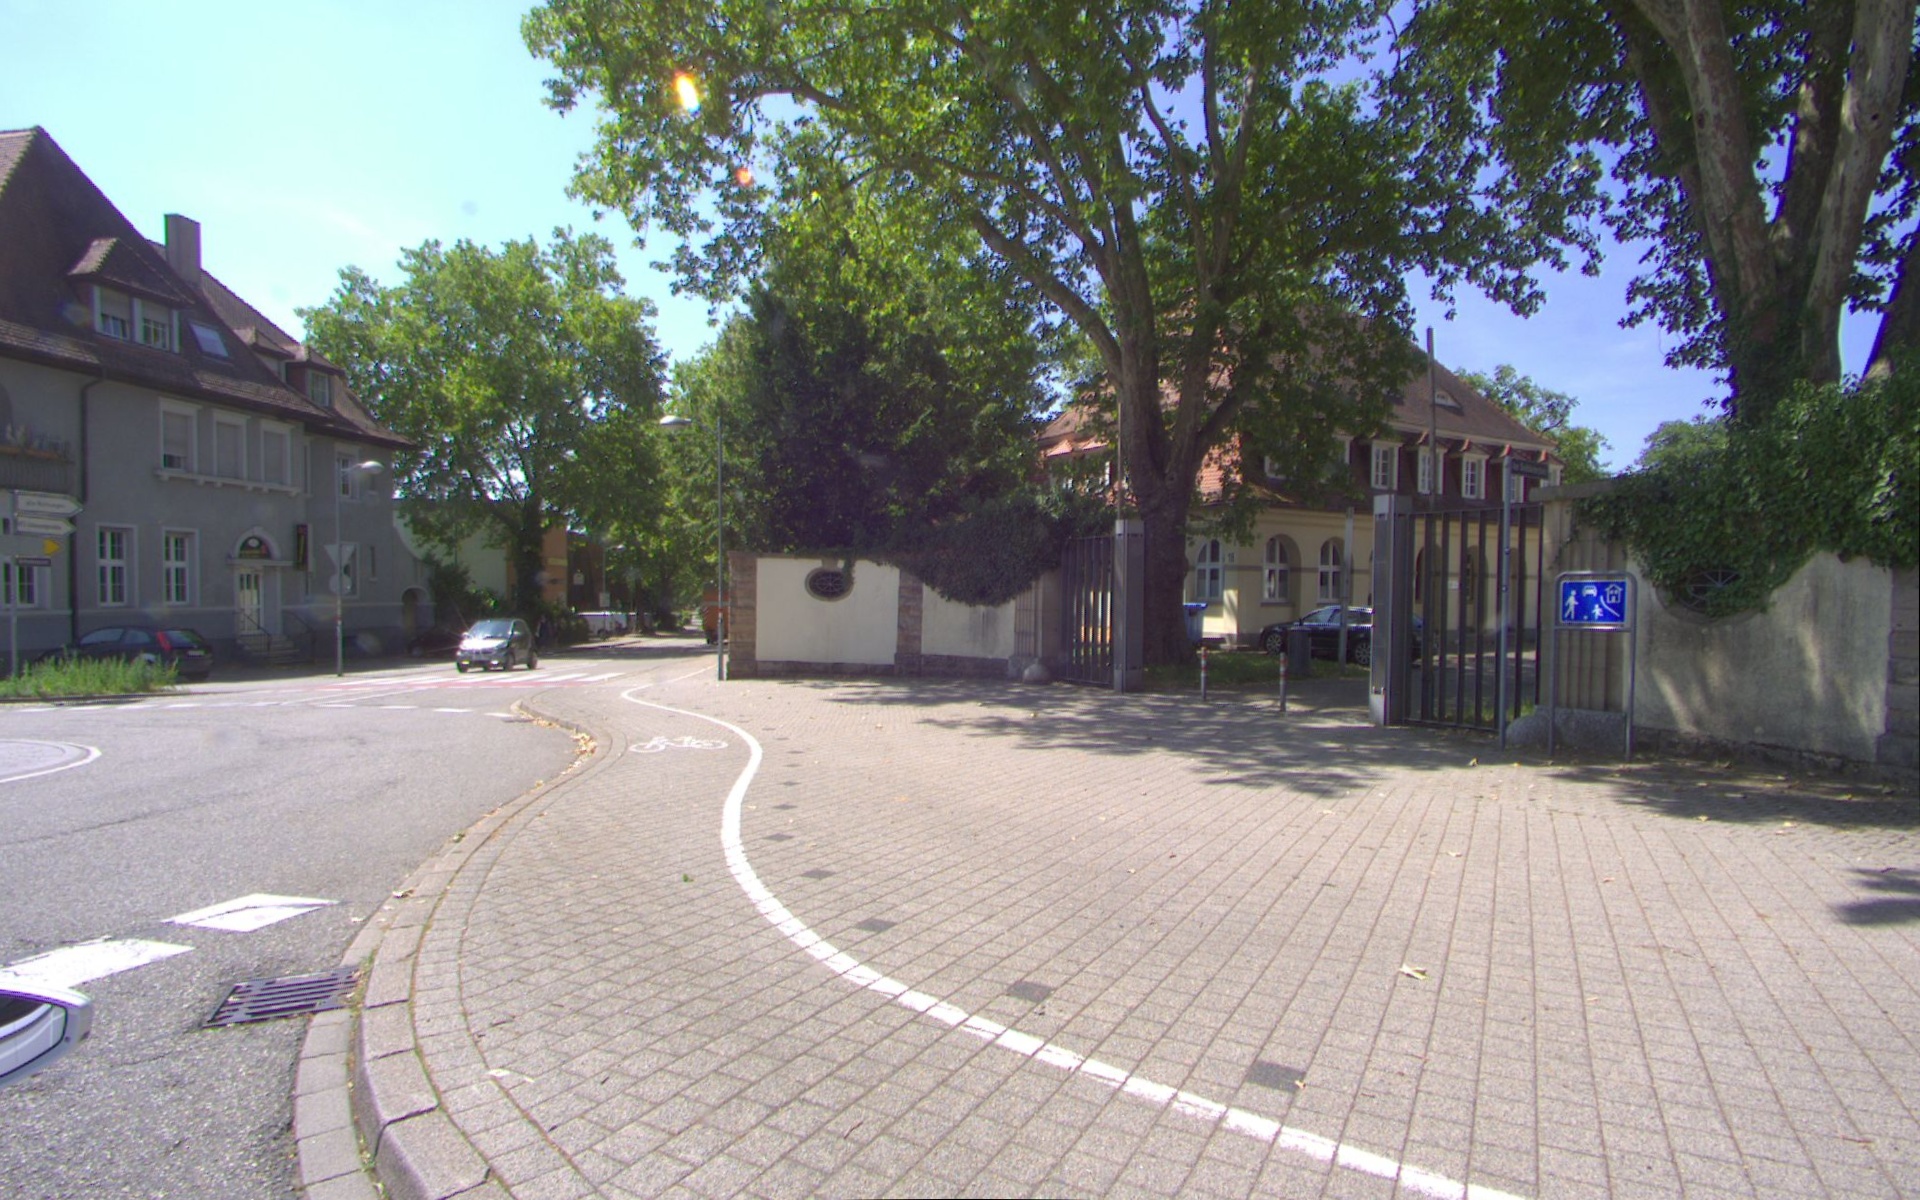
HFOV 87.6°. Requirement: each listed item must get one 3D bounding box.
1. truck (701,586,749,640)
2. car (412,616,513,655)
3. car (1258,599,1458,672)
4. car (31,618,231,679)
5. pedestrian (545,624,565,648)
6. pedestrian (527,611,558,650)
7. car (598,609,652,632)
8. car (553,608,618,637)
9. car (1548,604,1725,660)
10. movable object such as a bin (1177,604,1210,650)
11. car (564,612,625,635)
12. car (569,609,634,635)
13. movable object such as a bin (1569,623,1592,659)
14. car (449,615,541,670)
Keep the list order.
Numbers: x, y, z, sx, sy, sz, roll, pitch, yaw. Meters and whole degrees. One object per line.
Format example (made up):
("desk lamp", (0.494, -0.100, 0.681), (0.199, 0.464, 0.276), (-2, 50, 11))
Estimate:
("truck", (-14.437, 0.872, 61.757), (2.333, 3.173, 5.769), (0, -2, -8))
("car", (-20.478, 1.455, 41.286), (3.326, 1.567, 1.724), (0, -1, 3))
("car", (10.151, 0.835, 25.914), (1.972, 1.423, 4.472), (0, 4, -31))
("car", (-20.978, 1.202, 25.440), (3.719, 1.479, 1.724), (0, -1, 3))
("pedestrian", (-19.643, 1.725, 48.581), (0.742, 1.136, 0.897), (0, 0, -11))
("pedestrian", (-18.882, 1.369, 45.305), (0.857, 1.765, 1.112), (0, 0, 5))
("car", (-28.363, 1.748, 84.879), (4.065, 1.827, 1.902), (2, -1, -10))
("car", (-26.075, 1.566, 69.810), (3.925, 1.816, 1.867), (2, -1, -10))
("car", (22.721, 1.010, 33.814), (1.972, 1.423, 4.472), (0, 4, -31))
("movable object such as a bin", (6.768, 0.786, 29.032), (0.661, 1.314, 0.672), (0, 0, -41))
("car", (-27.084, 1.735, 74.228), (3.925, 1.535, 1.867), (2, -1, -10))
("car", (-27.416, 1.680, 76.756), (4.355, 1.827, 1.902), (2, -1, -10))
("movable object such as a bin", (18.276, 1.205, 29.498), (0.530, 1.021, 0.525), (0, 0, 28))
("car", (-13.877, 1.239, 30.043), (1.539, 1.550, 2.789), (0, -1, -2))
